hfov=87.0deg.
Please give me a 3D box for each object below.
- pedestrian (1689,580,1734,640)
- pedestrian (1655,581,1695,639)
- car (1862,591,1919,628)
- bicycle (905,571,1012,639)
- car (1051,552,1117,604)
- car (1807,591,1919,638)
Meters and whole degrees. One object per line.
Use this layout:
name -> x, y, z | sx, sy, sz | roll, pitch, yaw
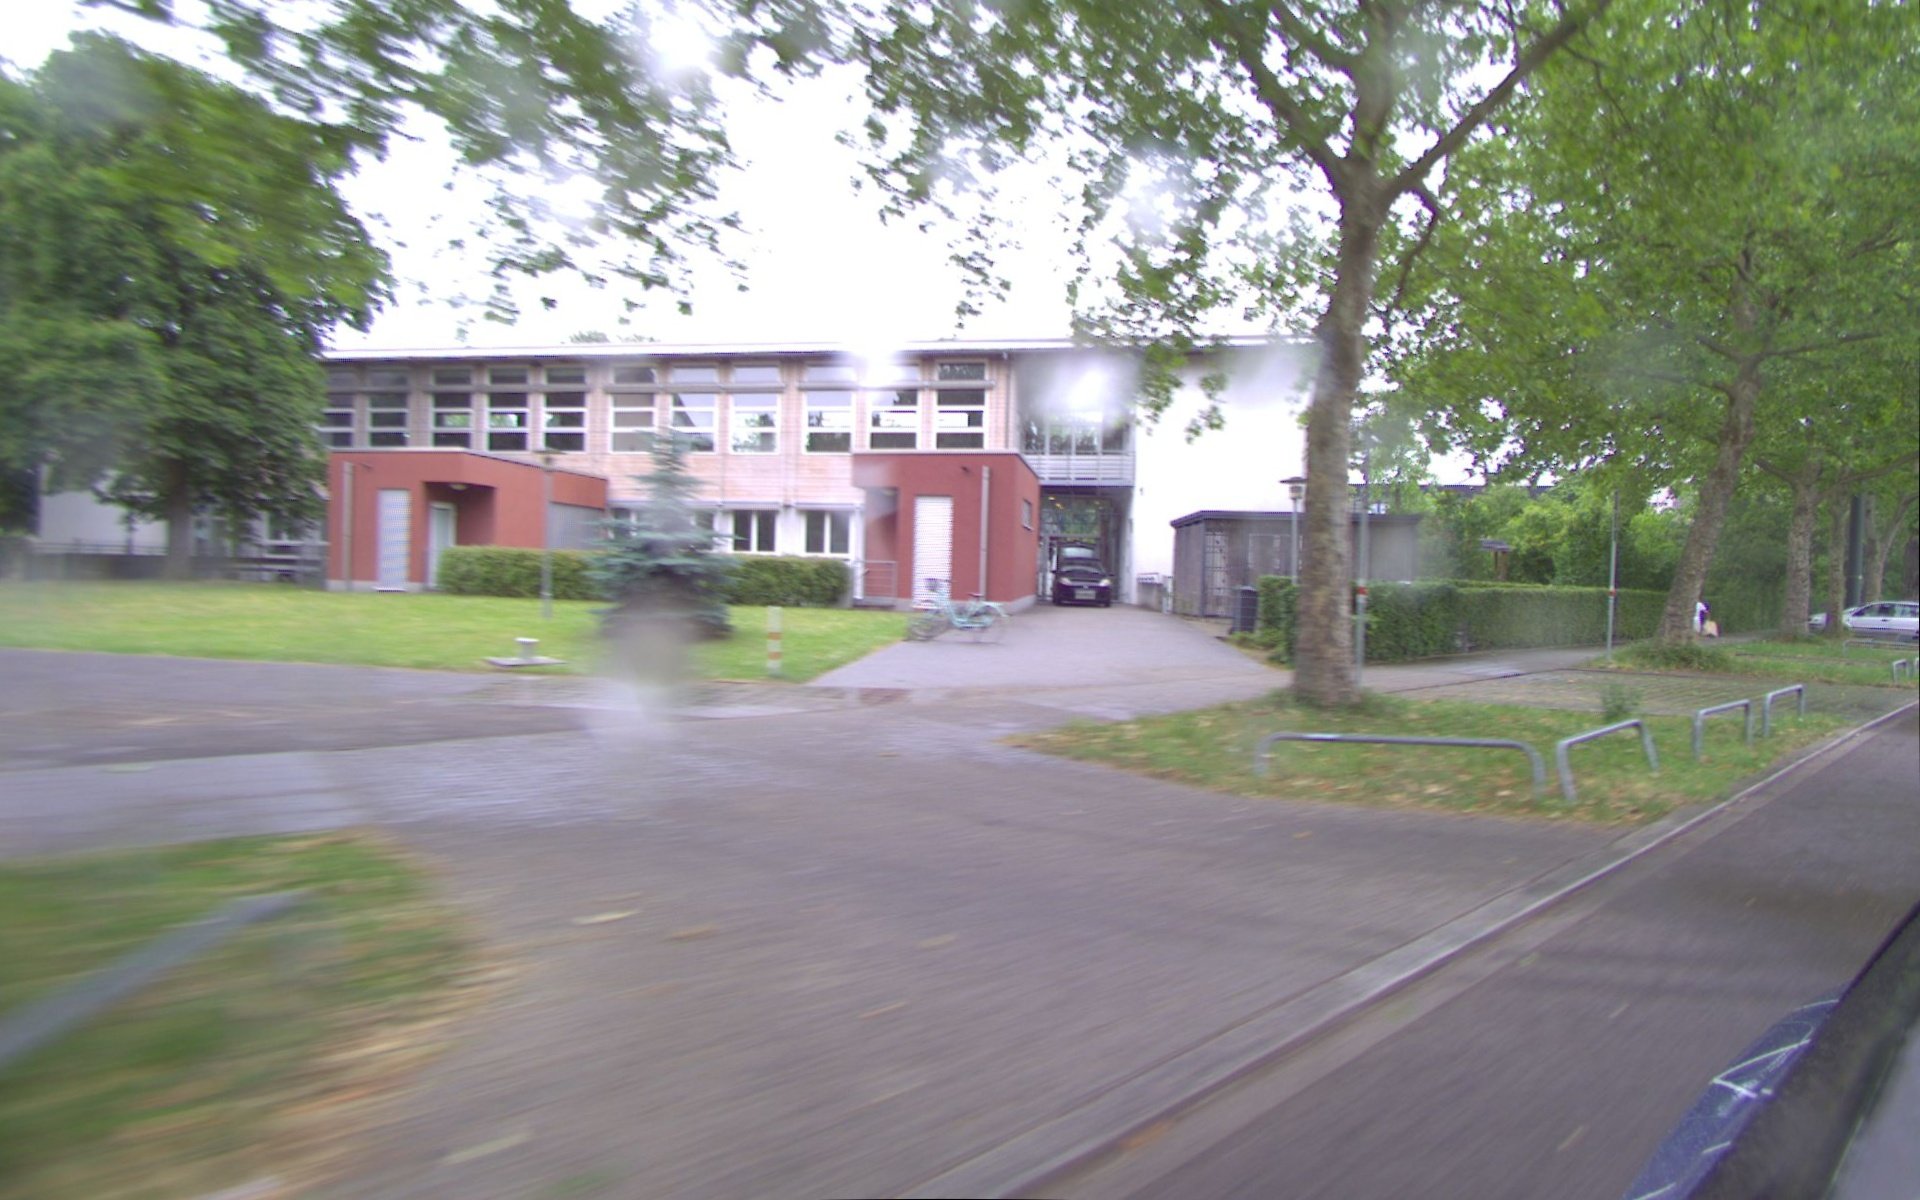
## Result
pedestrian -> 20.363, 0.257, 27.423 | 0.737, 1.557, 0.583 | 2, 1, 13
pedestrian -> 19.683, 0.273, 27.868 | 0.575, 1.557, 0.747 | 1, 2, -42
car -> 41.511, 0.459, 43.351 | 3.983, 1.505, 1.622 | 3, 2, 30
bicycle -> -0.029, 0.079, 18.673 | 1.903, 1.135, 0.521 | 3, 3, 3
car -> 3.799, -0.691, 30.589 | 1.722, 1.469, 3.572 | 1, 2, 11
car -> 33.003, 0.514, 36.072 | 3.983, 1.505, 1.622 | 3, 2, 30
